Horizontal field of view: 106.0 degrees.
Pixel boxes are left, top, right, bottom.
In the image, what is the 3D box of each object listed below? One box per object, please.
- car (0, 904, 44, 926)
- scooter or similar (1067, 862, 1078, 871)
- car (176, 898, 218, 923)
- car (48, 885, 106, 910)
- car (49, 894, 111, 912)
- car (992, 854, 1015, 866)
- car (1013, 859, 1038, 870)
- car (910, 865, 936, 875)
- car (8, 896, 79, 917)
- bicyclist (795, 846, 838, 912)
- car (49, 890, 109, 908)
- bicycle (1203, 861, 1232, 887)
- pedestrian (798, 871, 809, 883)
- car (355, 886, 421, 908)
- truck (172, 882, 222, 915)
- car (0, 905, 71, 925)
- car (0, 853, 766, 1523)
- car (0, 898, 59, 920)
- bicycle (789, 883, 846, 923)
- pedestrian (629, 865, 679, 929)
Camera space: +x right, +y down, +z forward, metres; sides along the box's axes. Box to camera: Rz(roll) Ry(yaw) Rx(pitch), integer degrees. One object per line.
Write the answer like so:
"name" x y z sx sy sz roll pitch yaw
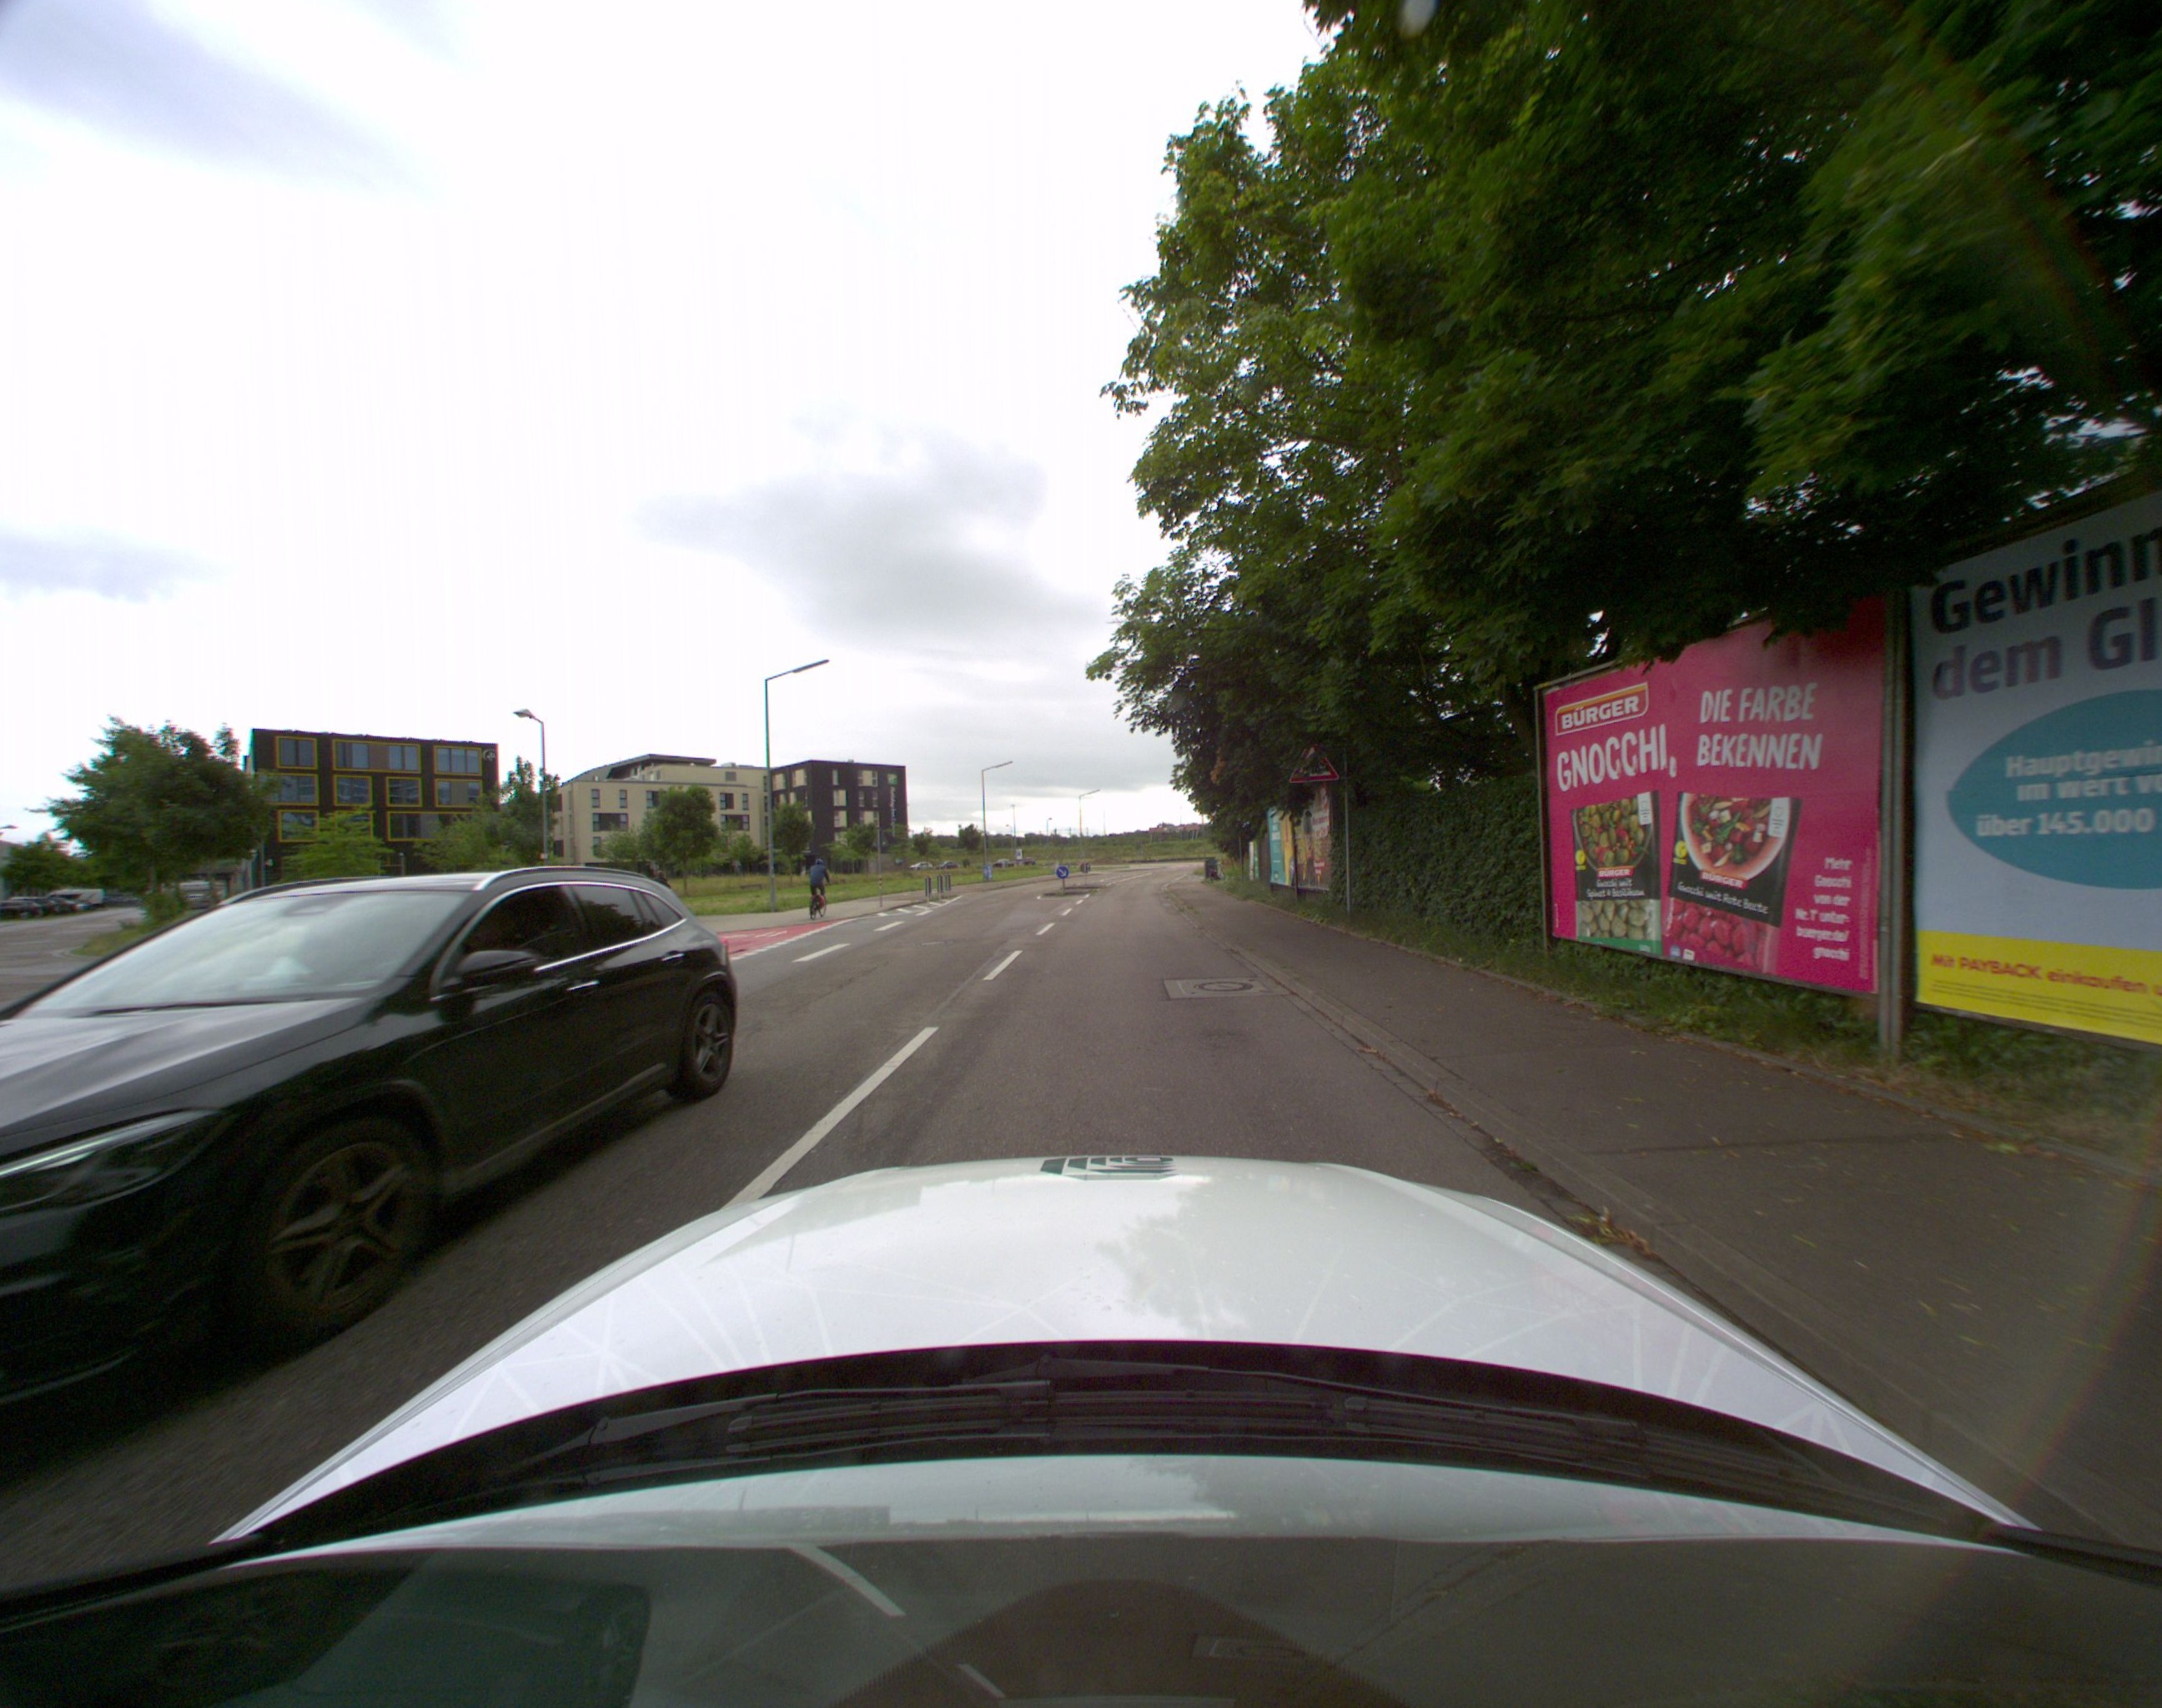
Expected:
"car" -86.156 4.946 65.037 1.974 1.523 4.026 -4 0 38
"scooter or similar" -1.273 1.801 116.723 1.451 1.168 0.574 -1 0 17
"car" -75.027 4.784 69.092 5.033 1.864 2.221 -2 0 41
"car" -119.938 5.152 97.295 1.974 2.722 4.283 -2 0 36
"car" -113.127 5.530 92.055 1.974 1.771 4.283 -2 0 36
"car" -13.423 1.010 141.522 2.011 2.013 3.952 -2 0 -41
"car" -9.296 1.766 136.965 3.950 1.823 2.012 -2 0 44
"car" -27.063 2.665 139.481 1.974 1.517 4.180 -2 0 35
"car" -104.357 5.226 81.944 1.974 1.771 4.283 -2 0 36
"bicyclist" -8.341 0.780 25.757 0.858 2.013 1.178 -2 0 1
"car" -116.645 5.210 94.826 1.974 1.771 4.283 -2 0 36
"bicycle" 6.408 0.932 38.101 0.788 1.111 1.963 -2 -1 25
"pedestrian" -37.277 3.052 109.404 0.942 1.570 0.881 -2 0 26
"car" -59.872 3.693 70.411 1.974 1.523 4.026 -4 0 38
"truck" -82.088 4.078 75.574 7.225 2.706 2.857 -2 0 41
"car" -99.066 5.731 77.049 1.974 1.574 4.283 -2 0 36
"car" -3.401 0.830 4.102 1.875 1.566 4.357 -2 0 0
"car" -91.367 4.772 70.182 1.787 1.523 4.026 -4 0 37
"bicycle" -8.304 1.519 25.790 0.880 1.052 2.470 -2 0 1
"pedestrian" -12.402 1.230 23.702 0.841 1.782 1.076 -2 0 -2
